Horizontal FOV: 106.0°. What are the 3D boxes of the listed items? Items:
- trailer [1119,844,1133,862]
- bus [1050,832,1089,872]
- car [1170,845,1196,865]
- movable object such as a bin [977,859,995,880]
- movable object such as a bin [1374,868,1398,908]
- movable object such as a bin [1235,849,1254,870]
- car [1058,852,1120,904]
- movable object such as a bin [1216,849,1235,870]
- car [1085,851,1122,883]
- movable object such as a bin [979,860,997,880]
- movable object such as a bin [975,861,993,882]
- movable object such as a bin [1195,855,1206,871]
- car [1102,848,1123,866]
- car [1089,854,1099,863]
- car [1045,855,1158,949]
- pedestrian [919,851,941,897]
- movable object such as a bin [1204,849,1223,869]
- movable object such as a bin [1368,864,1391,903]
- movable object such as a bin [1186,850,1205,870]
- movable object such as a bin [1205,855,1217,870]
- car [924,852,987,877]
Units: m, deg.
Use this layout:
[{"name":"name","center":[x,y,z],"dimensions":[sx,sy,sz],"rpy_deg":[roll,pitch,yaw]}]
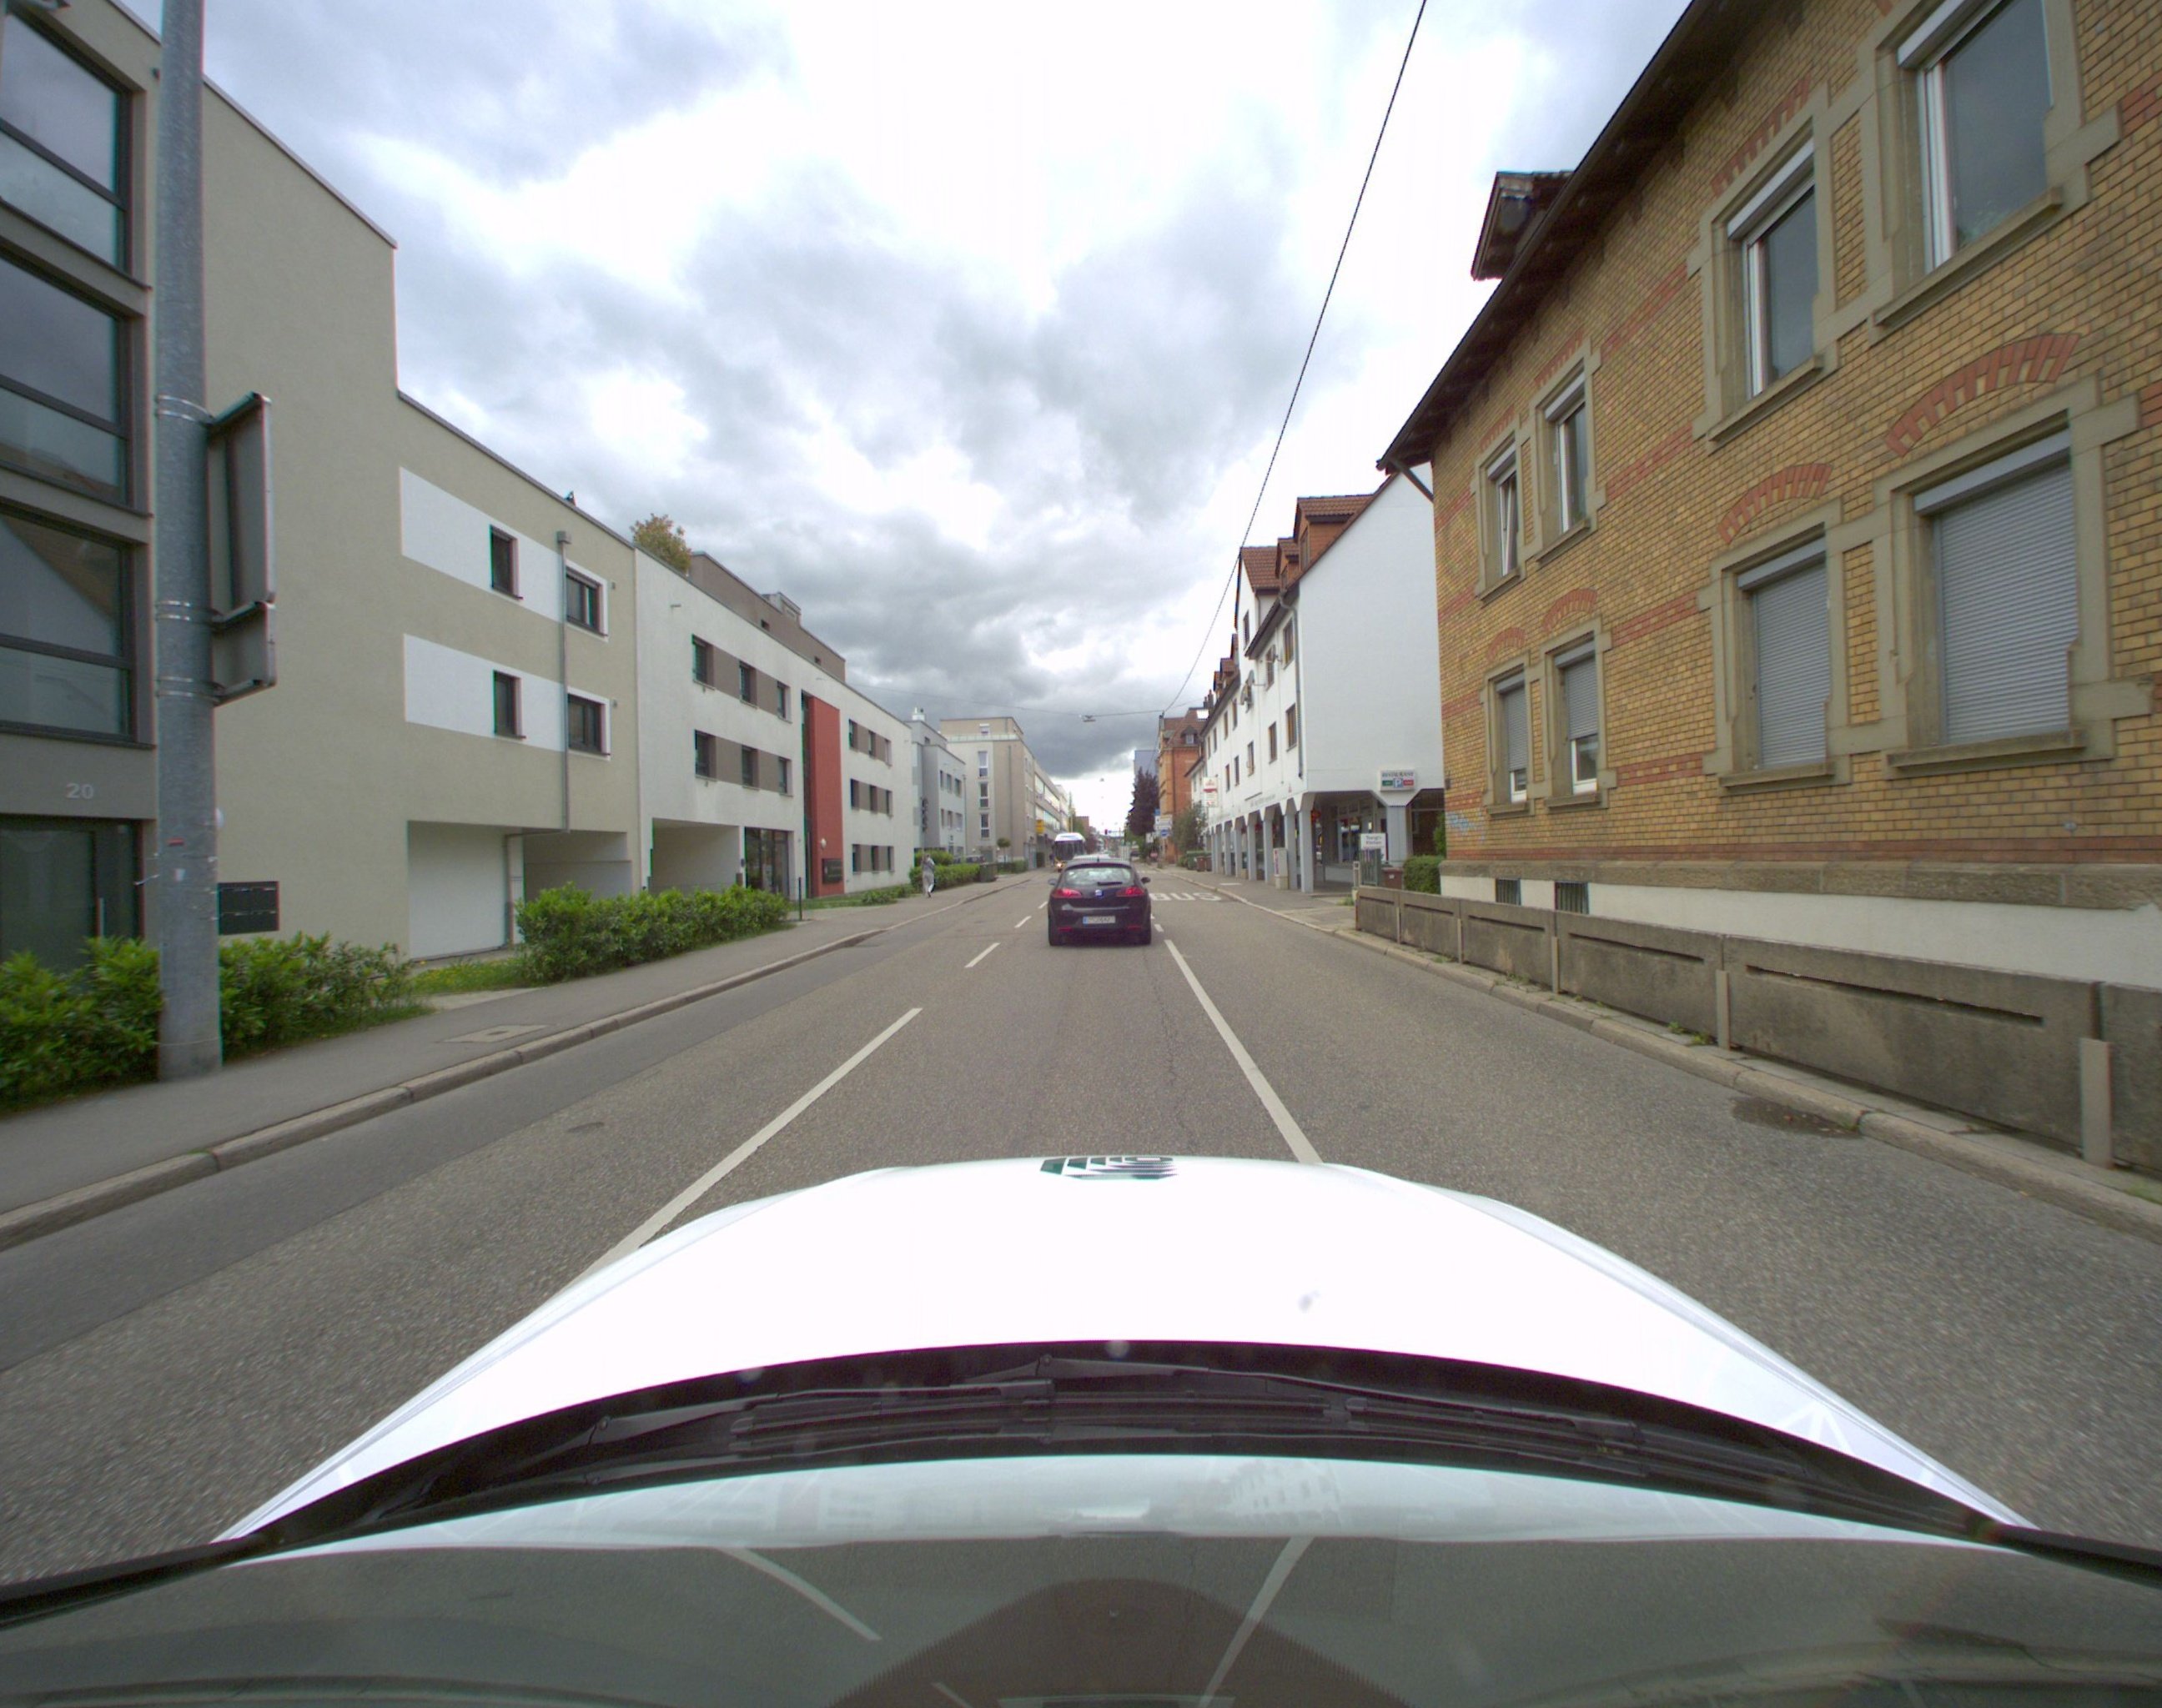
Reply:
[{"name":"trailer","center":[6.962,-0.129,125.721],"dimensions":[1.986,2.607,5.350],"rpy_deg":[-2,0,1]},{"name":"bus","center":[-0.900,-0.172,75.436],"dimensions":[2.931,3.273,12.013],"rpy_deg":[-3,0,2]},{"name":"car","center":[8.460,0.058,67.844],"dimensions":[1.797,1.601,3.738],"rpy_deg":[0,0,1]},{"name":"movable object such as a bin","center":[-5.379,0.894,46.109],"dimensions":[0.954,1.151,0.839],"rpy_deg":[-2,0,-3]},{"name":"movable object such as a bin","center":[7.149,0.789,19.098],"dimensions":[0.396,0.903,0.456],"rpy_deg":[-2,0,2]},{"name":"movable object such as a bin","center":[11.449,0.371,57.023],"dimensions":[1.203,1.417,1.261],"rpy_deg":[-2,0,6]},{"name":"car","center":[0.287,0.713,26.035],"dimensions":[1.797,1.492,3.738],"rpy_deg":[-2,0,1]},{"name":"movable object such as a bin","center":[10.093,0.406,57.075],"dimensions":[1.203,1.417,1.261],"rpy_deg":[-2,0,6]},{"name":"car","center":[1.150,0.633,42.291],"dimensions":[1.797,1.553,3.738],"rpy_deg":[-2,0,1]},{"name":"movable object such as a bin","center":[-5.347,0.914,46.945],"dimensions":[0.946,1.151,0.748],"rpy_deg":[-2,0,-3]},{"name":"movable object such as a bin","center":[-5.363,0.976,45.236],"dimensions":[0.892,1.089,0.792],"rpy_deg":[-2,0,-3]},{"name":"movable object such as a bin","center":[8.438,0.612,57.494],"dimensions":[0.680,1.067,0.973],"rpy_deg":[-2,0,6]},{"name":"car","center":[2.769,0.274,73.103],"dimensions":[1.797,1.553,3.738],"rpy_deg":[-2,0,1]},{"name":"car","center":[2.509,0.863,157.857],"dimensions":[1.871,1.451,4.215],"rpy_deg":[-4,0,2]},{"name":"car","center":[0.399,0.757,14.835],"dimensions":[1.759,1.433,3.830],"rpy_deg":[-1,0,2]},{"name":"pedestrian","center":[-5.504,0.722,29.670],"dimensions":[0.636,1.642,0.520],"rpy_deg":[-1,0,2]},{"name":"movable object such as a bin","center":[9.946,0.383,61.144],"dimensions":[1.262,1.435,1.308],"rpy_deg":[-2,0,2]},{"name":"movable object such as a bin","center":[7.222,0.709,19.706],"dimensions":[0.396,0.903,0.456],"rpy_deg":[-2,0,2]},{"name":"movable object such as a bin","center":[8.607,0.433,61.415],"dimensions":[1.262,1.417,1.163],"rpy_deg":[-2,0,2]},{"name":"movable object such as a bin","center":[9.164,0.600,57.448],"dimensions":[0.694,1.079,0.973],"rpy_deg":[-2,0,6]},{"name":"car","center":[-9.059,0.732,58.785],"dimensions":[4.143,1.667,1.727],"rpy_deg":[-2,-1,5]}]
